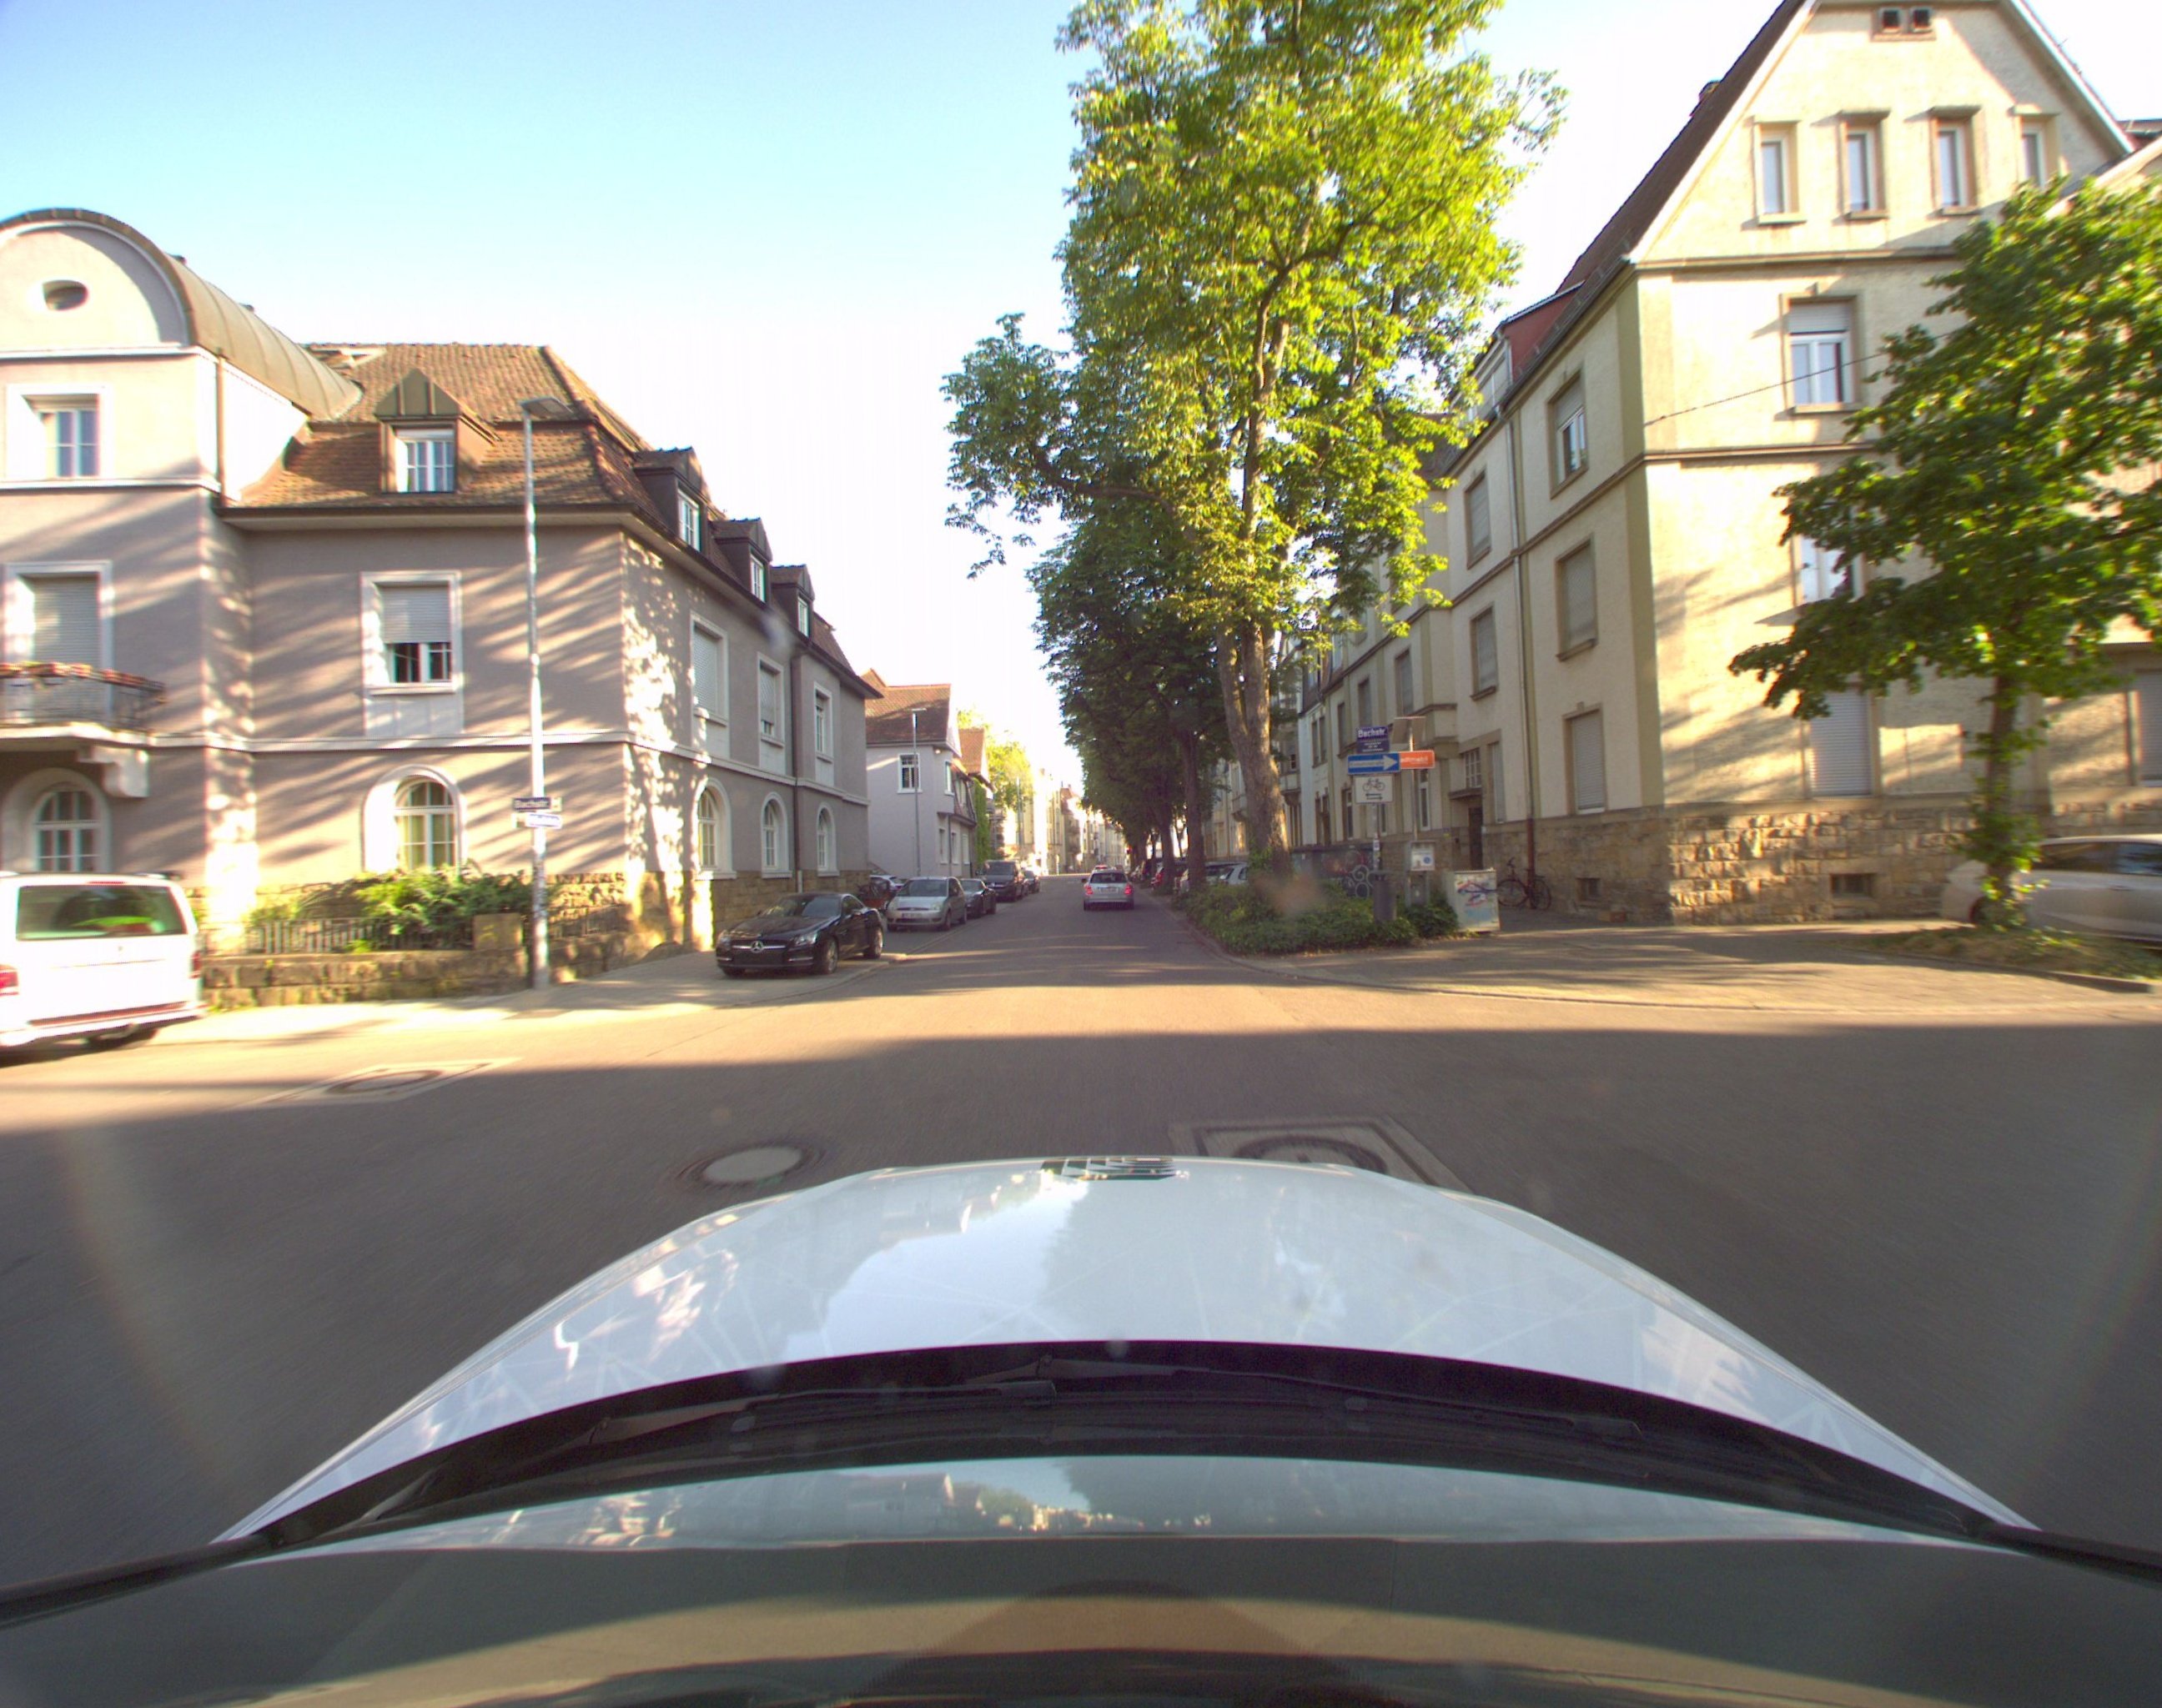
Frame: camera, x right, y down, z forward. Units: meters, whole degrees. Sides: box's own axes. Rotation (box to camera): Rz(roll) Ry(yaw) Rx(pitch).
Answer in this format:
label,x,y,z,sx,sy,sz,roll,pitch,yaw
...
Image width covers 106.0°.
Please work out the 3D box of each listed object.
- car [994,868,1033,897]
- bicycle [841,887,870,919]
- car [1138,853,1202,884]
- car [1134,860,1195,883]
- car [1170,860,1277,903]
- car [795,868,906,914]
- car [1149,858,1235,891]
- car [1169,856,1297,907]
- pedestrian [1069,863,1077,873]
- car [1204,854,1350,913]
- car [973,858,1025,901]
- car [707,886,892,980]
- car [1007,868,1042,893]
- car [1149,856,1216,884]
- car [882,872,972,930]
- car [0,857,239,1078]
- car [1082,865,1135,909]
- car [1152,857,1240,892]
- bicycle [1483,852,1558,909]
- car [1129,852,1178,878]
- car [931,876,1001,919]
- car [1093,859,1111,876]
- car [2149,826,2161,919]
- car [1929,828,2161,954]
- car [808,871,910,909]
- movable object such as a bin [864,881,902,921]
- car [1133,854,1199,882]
label,x,y,z,sx,sy,sz,roll,pitch,yaw
car,-3.735,1.559,45.587,1.647,1.447,4.239,0,-1,2
bicycle,-7.323,1.586,26.510,0.392,0.937,1.723,-2,-1,2
car,6.259,0.994,57.420,4.207,1.896,1.905,-3,-1,-1
car,6.177,1.251,60.358,4.275,1.541,1.876,-2,-1,-1
car,5.379,1.034,31.138,3.779,1.438,1.818,-2,-1,1
car,-9.130,1.453,32.492,3.854,1.621,1.896,-2,0,-3
car,5.877,1.071,43.647,4.392,1.419,1.879,-4,-1,3
car,5.312,0.950,28.741,4.138,1.577,1.710,-2,-1,-4
pedestrian,-1.408,2.388,140.828,1.215,1.722,1.505,-1,-1,5
car,5.684,0.839,23.893,3.785,1.438,1.747,-3,-1,-3
car,-3.938,1.212,39.827,1.975,1.948,4.851,-1,-1,1
car,-4.790,1.288,14.496,1.646,1.324,4.049,-1,-1,4
car,-3.469,1.606,50.689,1.688,1.447,4.359,-1,-1,2
car,6.527,1.031,52.712,4.096,1.571,1.877,-4,-1,1
car,-4.291,1.278,23.248,1.647,1.445,3.962,-1,-1,2
car,-11.987,1.170,8.401,4.388,2.014,1.998,-2,-3,-2
car,1.003,1.159,29.421,1.777,1.437,3.852,-1,-1,2
car,5.714,1.019,40.824,4.172,1.475,1.853,-4,-1,3
bicycle,9.930,0.578,18.481,0.583,1.212,1.957,-2,0,-1
car,6.887,1.044,77.521,4.376,2.364,1.999,-2,-1,-1
car,-3.906,1.443,28.344,1.524,1.319,4.231,-1,-1,4
car,2.088,1.335,79.226,1.617,1.570,3.682,-2,0,2
car,17.360,0.248,10.290,1.837,1.409,4.531,-2,0,2
car,13.237,0.401,9.659,1.777,1.409,4.470,-2,0,2
car,-9.412,1.509,34.695,3.854,1.443,1.633,-2,0,-3
movable object such as a bin,-6.921,1.626,28.544,0.719,1.283,2.097,-2,-1,2
car,6.709,1.092,64.675,5.038,1.989,2.071,-2,-1,-1
